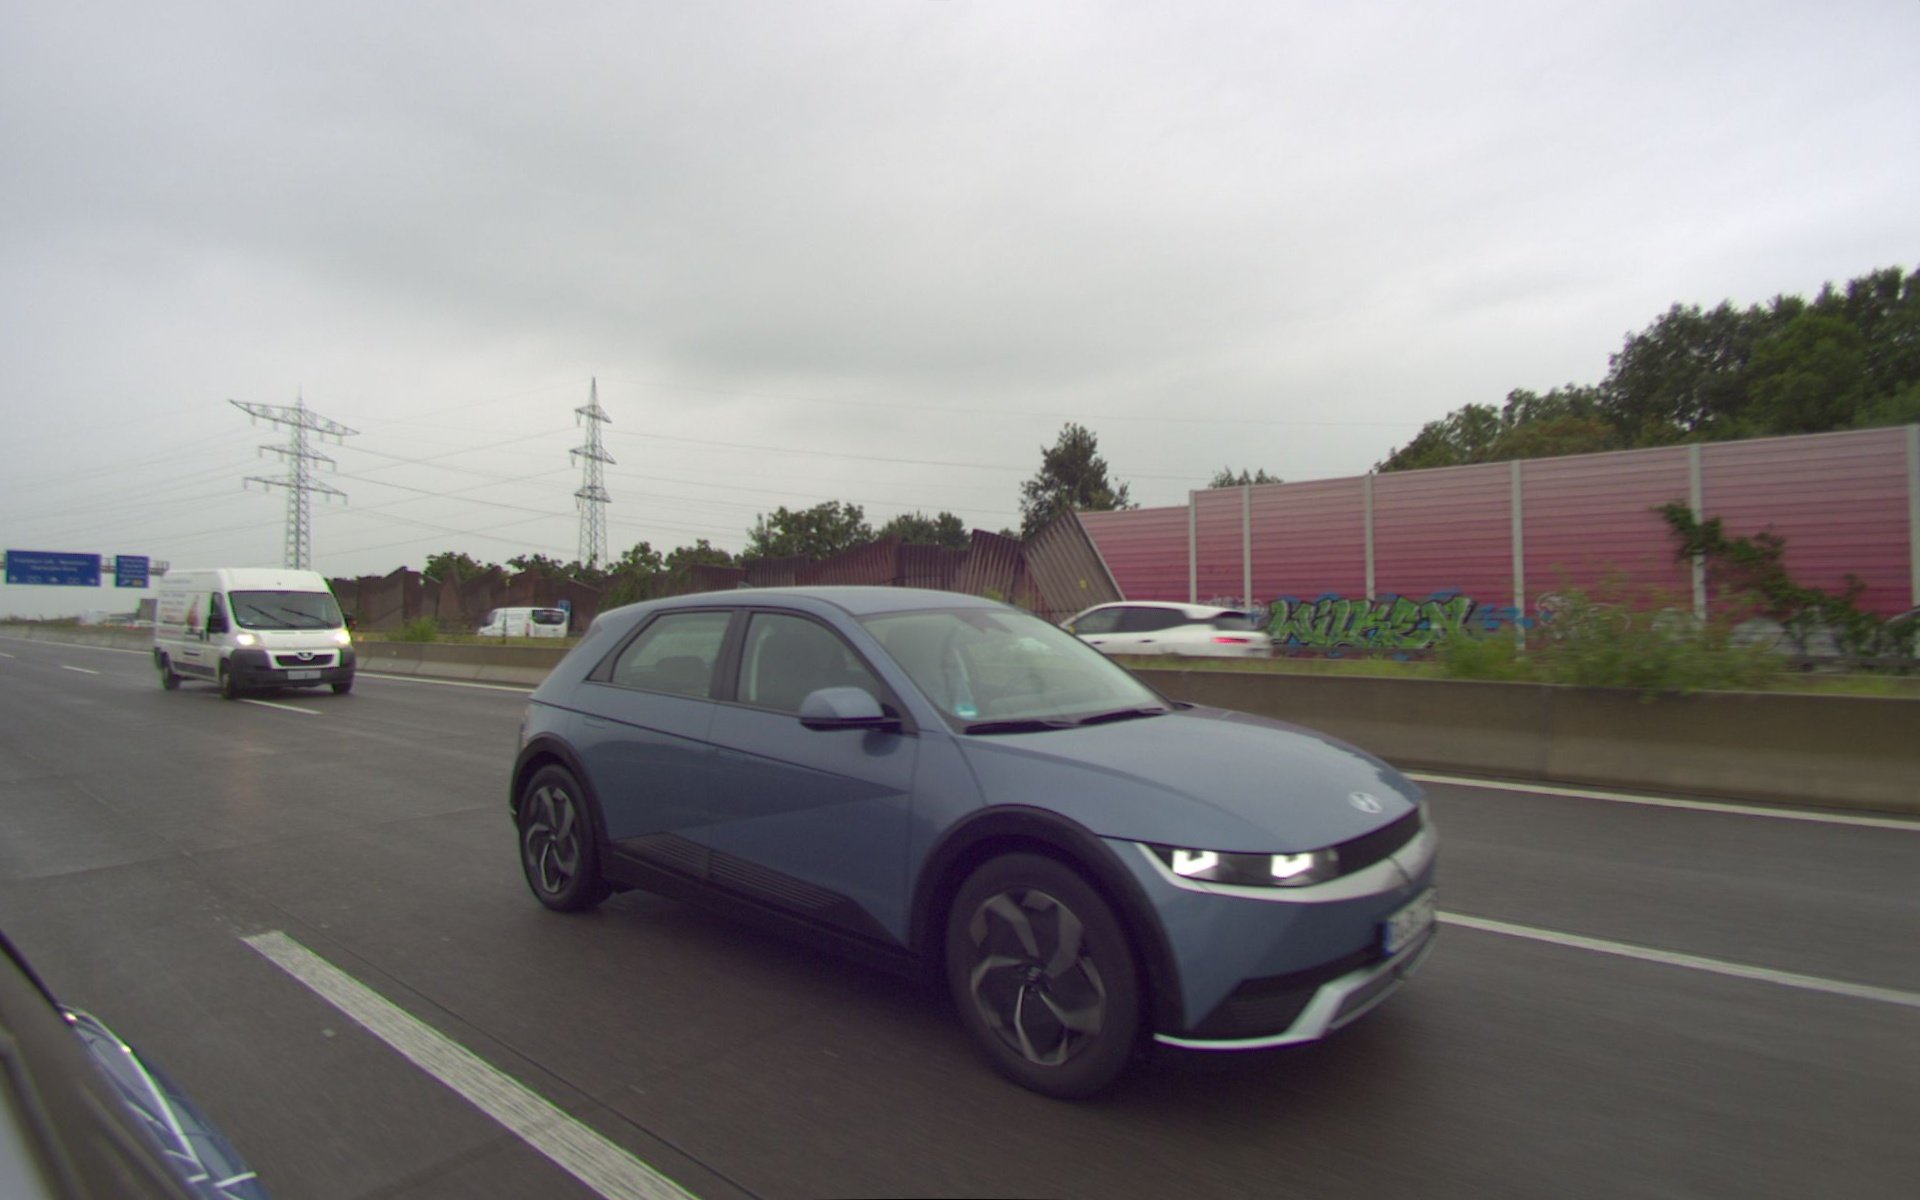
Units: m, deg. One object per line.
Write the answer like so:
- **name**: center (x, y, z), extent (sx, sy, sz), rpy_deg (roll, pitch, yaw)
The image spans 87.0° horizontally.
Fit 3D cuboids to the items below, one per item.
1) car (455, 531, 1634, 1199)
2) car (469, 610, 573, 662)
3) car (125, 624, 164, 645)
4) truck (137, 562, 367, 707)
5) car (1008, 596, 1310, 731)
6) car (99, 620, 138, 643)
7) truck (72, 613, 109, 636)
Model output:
- **car**: center (-0.204, 0.696, 4.502), extent (5.153, 1.606, 1.819), rpy_deg (-1, -1, 41)
- **car**: center (-18.010, 1.437, 41.390), extent (5.132, 2.029, 1.972), rpy_deg (-1, -1, 42)
- **car**: center (-71.094, 2.994, 88.188), extent (4.465, 1.752, 1.972), rpy_deg (-1, -1, 42)
- **truck**: center (-14.407, 0.637, 20.392), extent (6.579, 2.498, 2.214), rpy_deg (-1, 0, 41)
- **car**: center (3.310, 0.998, 17.487), extent (4.789, 2.029, 1.973), rpy_deg (-1, -1, 41)
- **car**: center (-65.671, 2.428, 78.962), extent (3.999, 1.752, 1.834), rpy_deg (-1, -1, 42)
- **truck**: center (-85.788, 2.392, 99.873), extent (5.418, 2.222, 2.122), rpy_deg (-1, -1, 42)
